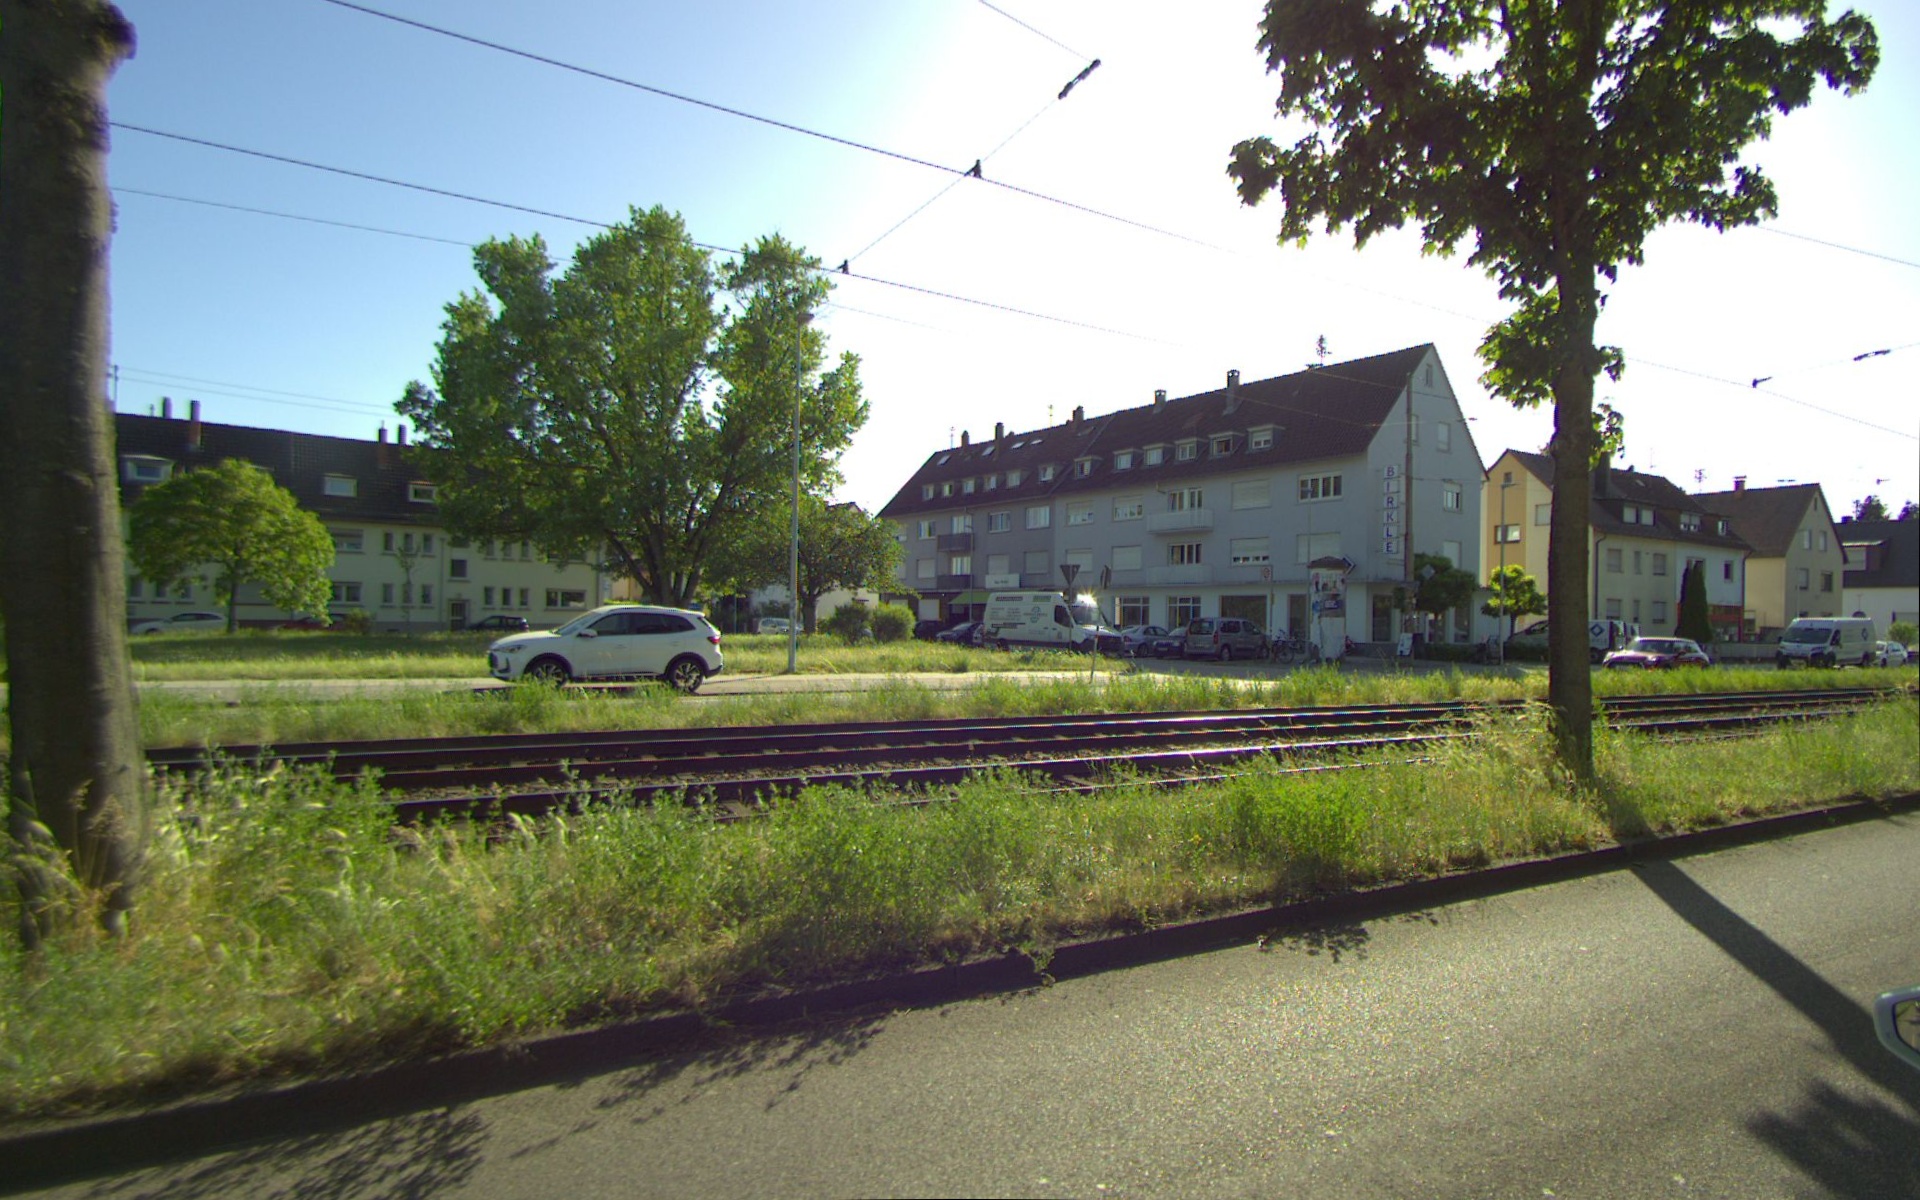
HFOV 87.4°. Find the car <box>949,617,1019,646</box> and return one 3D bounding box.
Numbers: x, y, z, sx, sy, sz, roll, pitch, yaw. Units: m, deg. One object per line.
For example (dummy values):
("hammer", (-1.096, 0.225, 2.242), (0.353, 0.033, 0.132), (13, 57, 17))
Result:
("car", (1.337, 1.714, 54.628), (3.596, 1.468, 1.518), (2, -1, -36))

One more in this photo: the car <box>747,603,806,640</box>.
("car", (-11.404, 1.326, 62.188), (1.982, 2.040, 3.957), (3, 0, -37))

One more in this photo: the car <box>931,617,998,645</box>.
("car", (0.271, 1.781, 57.077), (3.596, 1.484, 1.518), (2, -1, -36))

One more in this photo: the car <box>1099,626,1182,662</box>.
("car", (8.323, 2.032, 46.274), (3.598, 1.511, 1.782), (3, 0, -37))

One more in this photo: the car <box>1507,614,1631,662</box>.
("car", (28.445, 1.759, 47.034), (1.984, 1.971, 4.578), (2, 0, -40))

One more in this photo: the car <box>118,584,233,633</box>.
("car", (-35.804, 0.394, 45.994), (3.961, 2.040, 1.980), (3, 0, -35))

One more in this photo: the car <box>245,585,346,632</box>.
("car", (-32.149, 0.422, 48.756), (3.956, 2.040, 1.982), (3, 0, -32))

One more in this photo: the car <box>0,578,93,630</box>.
("car", (-39.849, 0.162, 42.992), (3.966, 2.040, 1.977), (3, 0, -39))

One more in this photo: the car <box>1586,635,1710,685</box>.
("car", (21.473, 1.863, 31.339), (3.953, 1.428, 1.668), (2, -1, -30))

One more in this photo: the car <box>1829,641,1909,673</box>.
("car", (47.299, 2.975, 52.239), (4.605, 1.431, 1.815), (3, 0, -31))

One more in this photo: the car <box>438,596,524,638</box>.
("car", (-25.738, 0.908, 54.008), (3.956, 2.040, 1.982), (3, 0, -32))

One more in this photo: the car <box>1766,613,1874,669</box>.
("car", (42.283, 2.052, 49.317), (6.599, 2.492, 1.983), (3, 0, -31))

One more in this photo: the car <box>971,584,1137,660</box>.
("car", (3.395, 0.748, 38.216), (2.306, 2.541, 7.021), (2, 0, -34))

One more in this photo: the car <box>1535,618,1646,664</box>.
("car", (30.424, 1.957, 48.535), (1.984, 1.978, 4.102), (2, 0, -40))

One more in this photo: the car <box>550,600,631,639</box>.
("car", (-21.070, 1.120, 57.293), (3.956, 2.040, 1.982), (3, 0, -32))

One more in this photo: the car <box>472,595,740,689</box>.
("car", (-6.945, 0.838, 19.847), (4.718, 1.628, 1.814), (3, 0, -30))

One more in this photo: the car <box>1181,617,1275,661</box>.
("car", (11.373, 1.660, 42.512), (4.066, 1.692, 1.780), (3, 0, -39))

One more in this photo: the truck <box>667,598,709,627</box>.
("truck", (-22.332, 1.005, 82.454), (1.980, 2.117, 4.088), (3, 0, -35))
